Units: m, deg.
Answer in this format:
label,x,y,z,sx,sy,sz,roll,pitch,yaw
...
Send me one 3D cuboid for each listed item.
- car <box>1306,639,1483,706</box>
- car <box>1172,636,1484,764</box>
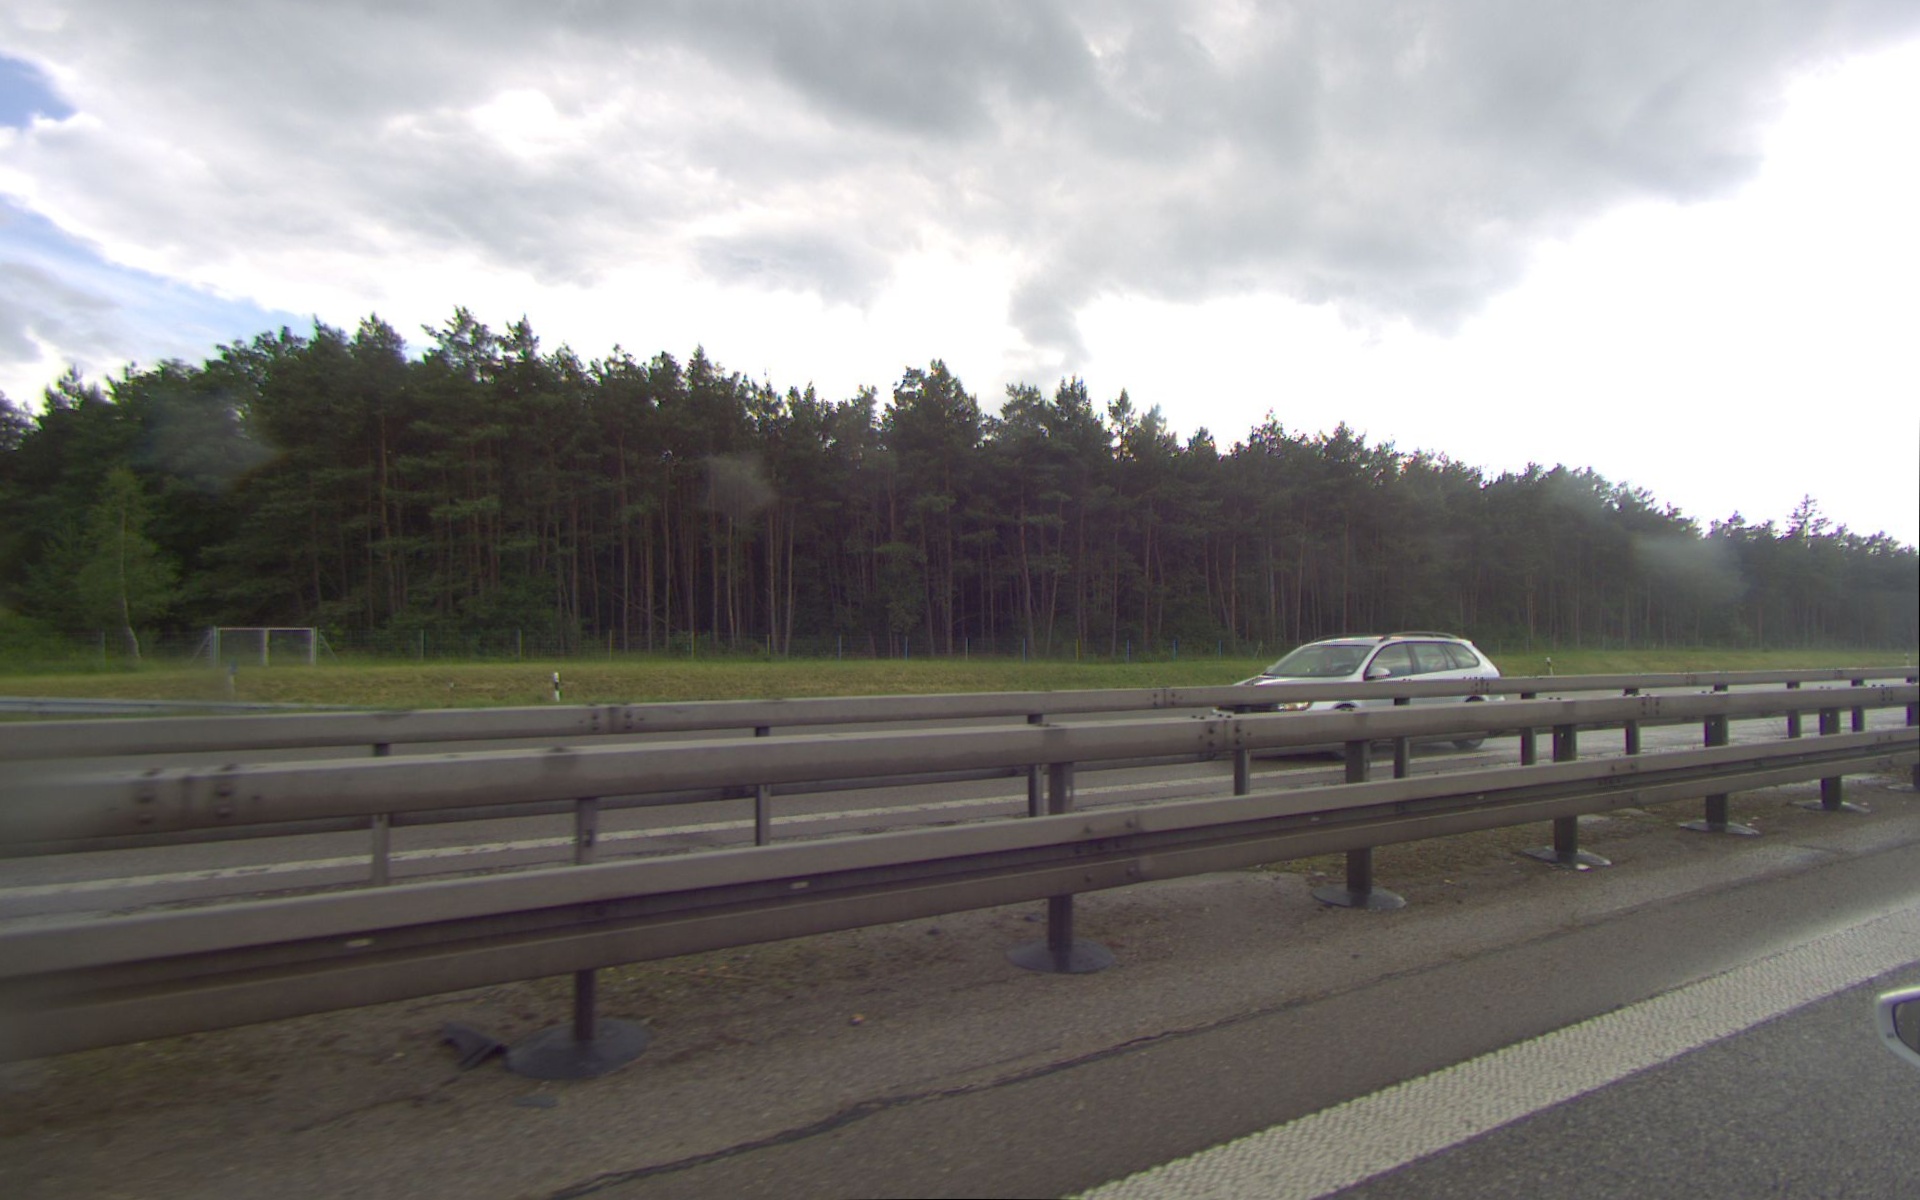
label,x,y,z,sx,sy,sz,roll,pitch,yaw
car,11.137,1.818,25.675,4.460,1.568,1.891,1,-4,-31
car,4.799,1.191,12.980,3.953,1.394,1.685,1,-1,-31
